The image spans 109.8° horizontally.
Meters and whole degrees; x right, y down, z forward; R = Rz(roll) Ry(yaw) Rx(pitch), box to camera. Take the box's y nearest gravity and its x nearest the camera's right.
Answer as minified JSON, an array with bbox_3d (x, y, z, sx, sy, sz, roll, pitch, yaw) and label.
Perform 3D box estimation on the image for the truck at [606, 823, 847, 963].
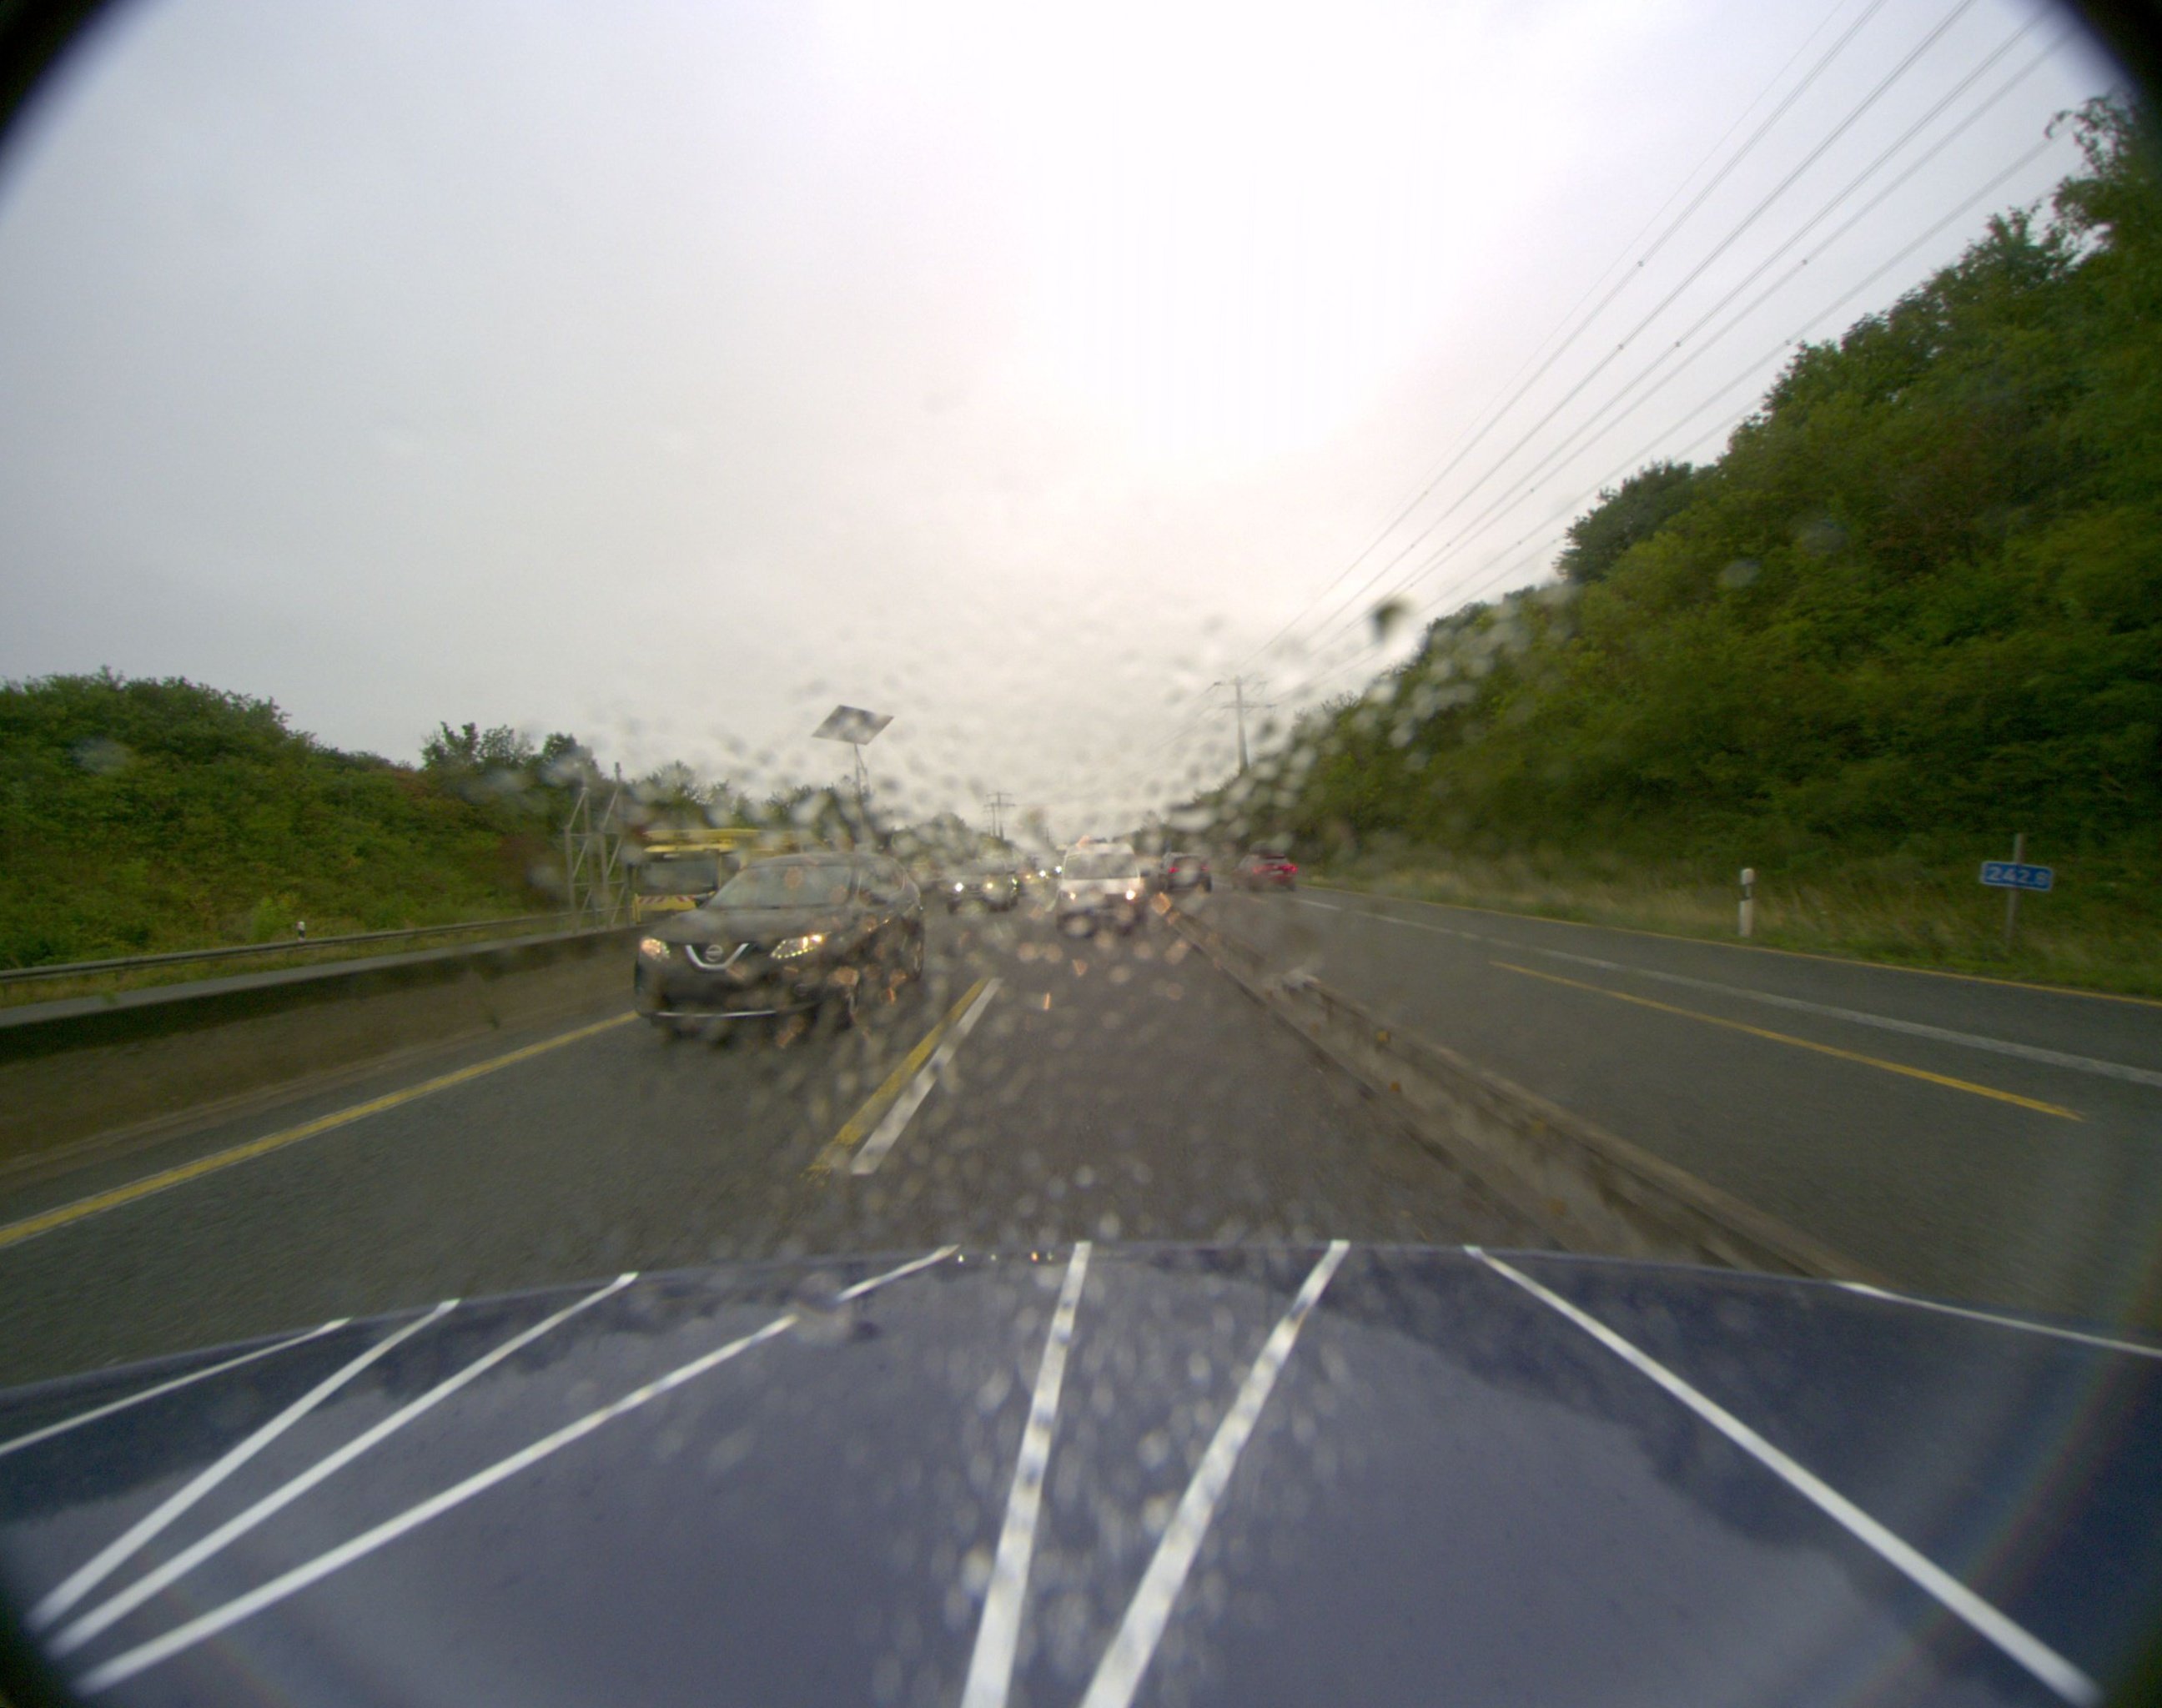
[{"bbox_3d":[-10.265,0.911,23.641,2.619,3.404,9.575,-2,1,2],"label":"truck"}]

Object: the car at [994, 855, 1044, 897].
[{"bbox_3d":[-2.603,0.870,32.694,1.784,1.589,4.123,-2,1,0],"label":"car"}]

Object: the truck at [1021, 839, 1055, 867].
[{"bbox_3d":[-5.812,-0.137,100.475,2.622,3.404,9.563,-2,1,-14],"label":"truck"}]

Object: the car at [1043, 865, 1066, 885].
[{"bbox_3d":[-2.152,1.700,62.873,1.784,1.482,4.123,-2,1,0],"label":"car"}]

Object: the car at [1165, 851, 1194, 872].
[{"bbox_3d":[8.236,0.579,63.842,1.875,1.593,4.000,-2,1,1],"label":"car"}]

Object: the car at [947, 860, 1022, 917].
[{"bbox_3d":[-2.899,0.982,23.604,1.784,1.482,4.123,-2,1,0],"label":"car"}]

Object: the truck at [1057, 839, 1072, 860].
[{"bbox_3d":[-3.108,-0.826,146.207,2.619,3.869,9.574,-2,1,0],"label":"truck"}]

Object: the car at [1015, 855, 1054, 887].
[{"bbox_3d":[-2.423,0.847,40.304,1.784,1.482,4.123,-2,1,0],"label":"car"}]

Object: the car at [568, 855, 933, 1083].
[{"bbox_3d":[-3.021,0.903,8.246,1.894,1.665,4.640,-2,1,0],"label":"car"}]

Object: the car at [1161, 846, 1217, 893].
[{"bbox_3d":[4.222,0.567,30.243,1.766,1.674,4.000,-2,1,2],"label":"car"}]

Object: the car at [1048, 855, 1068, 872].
[{"bbox_3d":[-2.223,0.941,74.270,1.784,1.482,4.123,-2,1,0],"label":"car"}]

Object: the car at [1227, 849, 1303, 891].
[{"bbox_3d":[7.053,0.574,29.560,1.778,1.442,4.448,-2,1,-1],"label":"car"}]

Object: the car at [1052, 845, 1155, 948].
[{"bbox_3d":[0.392,0.740,15.890,1.784,1.775,4.697,-2,1,0],"label":"car"}]
